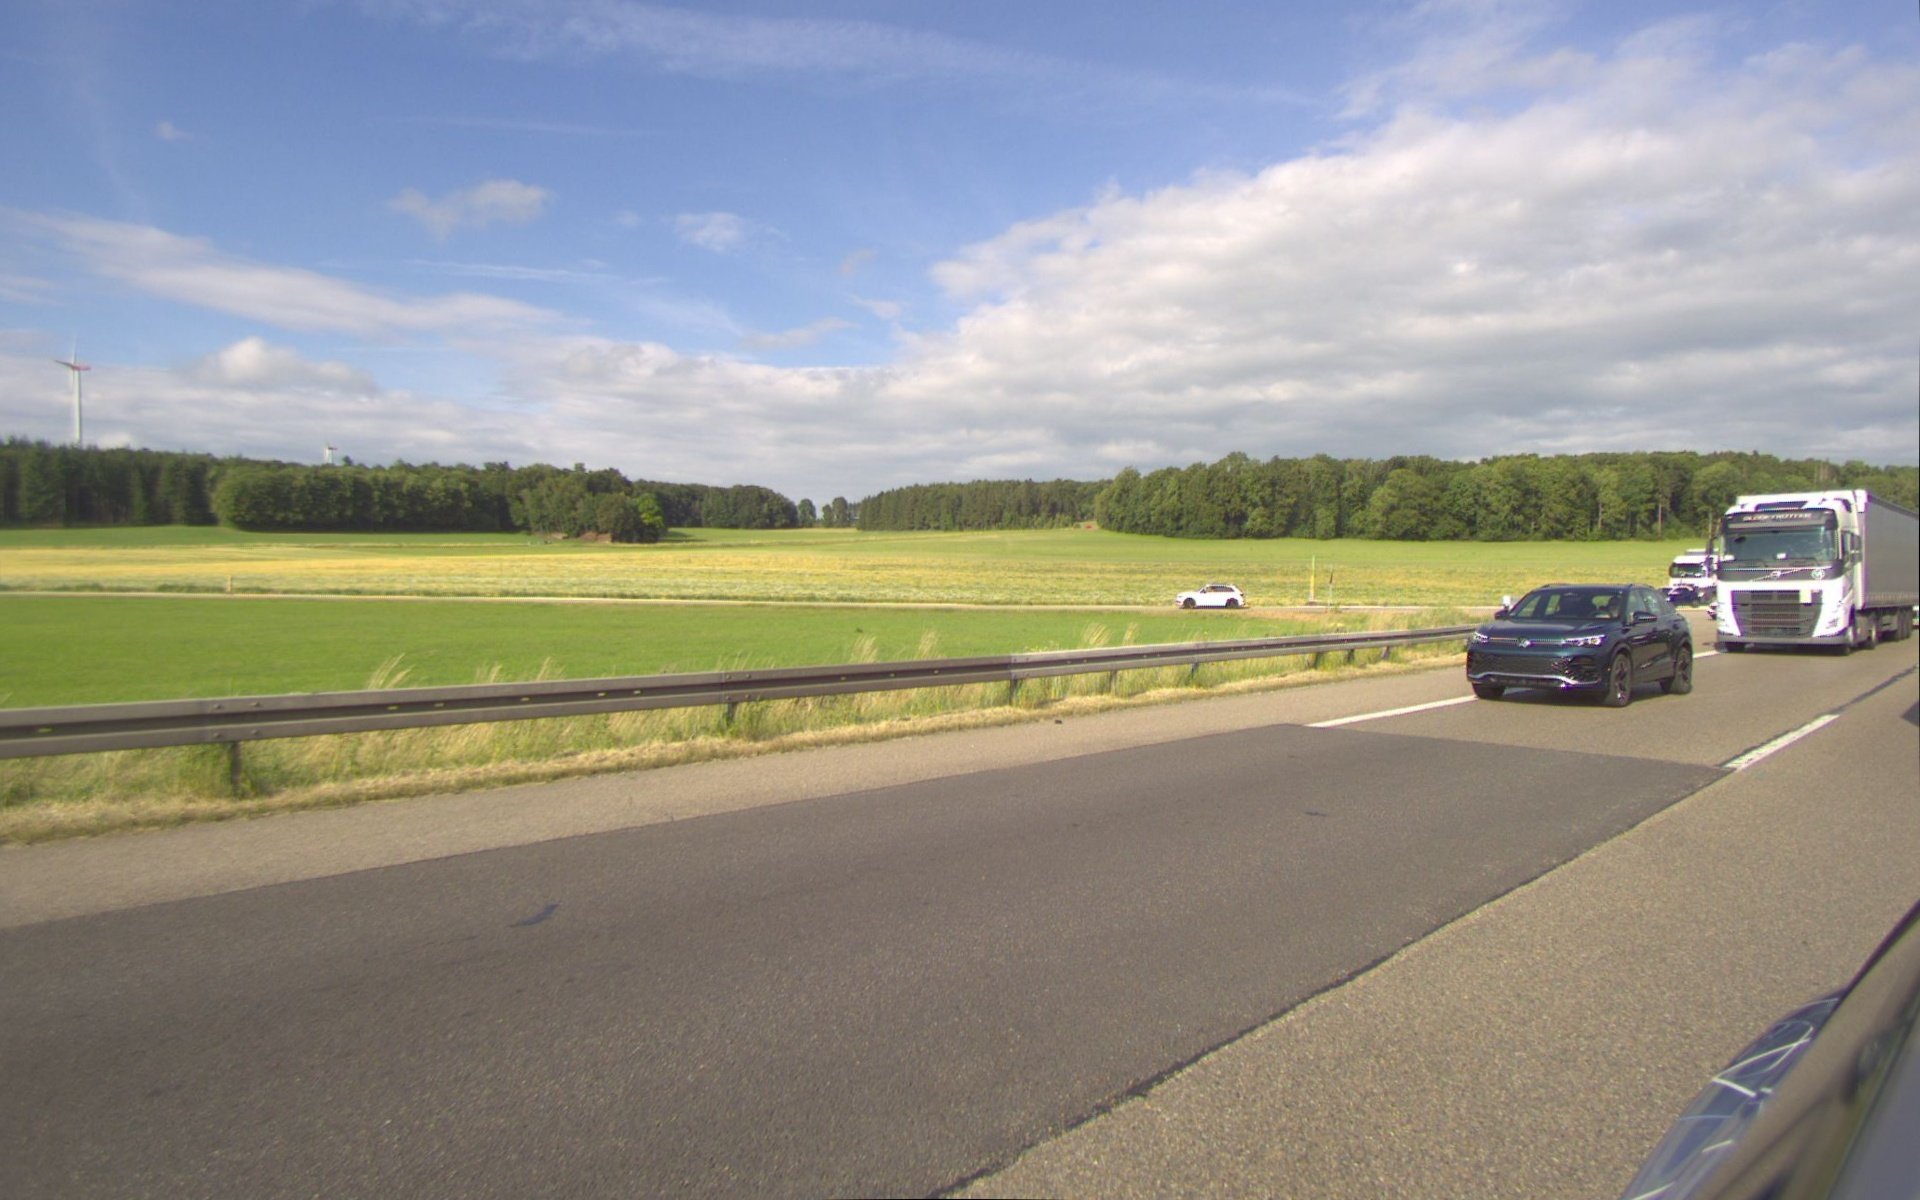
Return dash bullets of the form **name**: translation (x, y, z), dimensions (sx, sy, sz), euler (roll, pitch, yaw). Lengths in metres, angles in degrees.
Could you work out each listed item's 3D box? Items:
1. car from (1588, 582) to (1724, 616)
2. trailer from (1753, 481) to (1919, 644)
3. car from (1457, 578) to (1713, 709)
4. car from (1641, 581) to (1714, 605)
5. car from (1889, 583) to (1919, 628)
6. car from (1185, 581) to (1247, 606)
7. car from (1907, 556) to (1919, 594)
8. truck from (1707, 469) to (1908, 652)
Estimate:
- **car**: translation (33.495, -0.060, 48.861), dimensions (5.013, 1.565, 1.989), euler (0, 0, 18)
- **trailer**: translation (26.817, -1.006, 30.044), dimensions (11.915, 4.032, 2.824), euler (-1, 0, -40)
- **car**: translation (9.059, 0.501, 14.559), dimensions (4.047, 1.616, 1.997), euler (-1, 1, -40)
- **car**: translation (47.199, -0.478, 66.658), dimensions (3.505, 1.549, 1.719), euler (0, 0, 11)
- **car**: translation (36.779, 0.179, 38.279), dimensions (3.931, 1.678, 1.997), euler (-1, 1, -41)
- **car**: translation (16.936, -0.440, 67.182), dimensions (3.940, 1.638, 1.992), euler (0, 0, 14)
- **car**: translation (44.167, -1.135, 45.474), dimensions (3.931, 1.678, 1.997), euler (-1, 1, -41)
- **truck**: translation (21.467, -0.911, 25.520), dimensions (6.387, 4.040, 2.840), euler (-1, 0, -40)
